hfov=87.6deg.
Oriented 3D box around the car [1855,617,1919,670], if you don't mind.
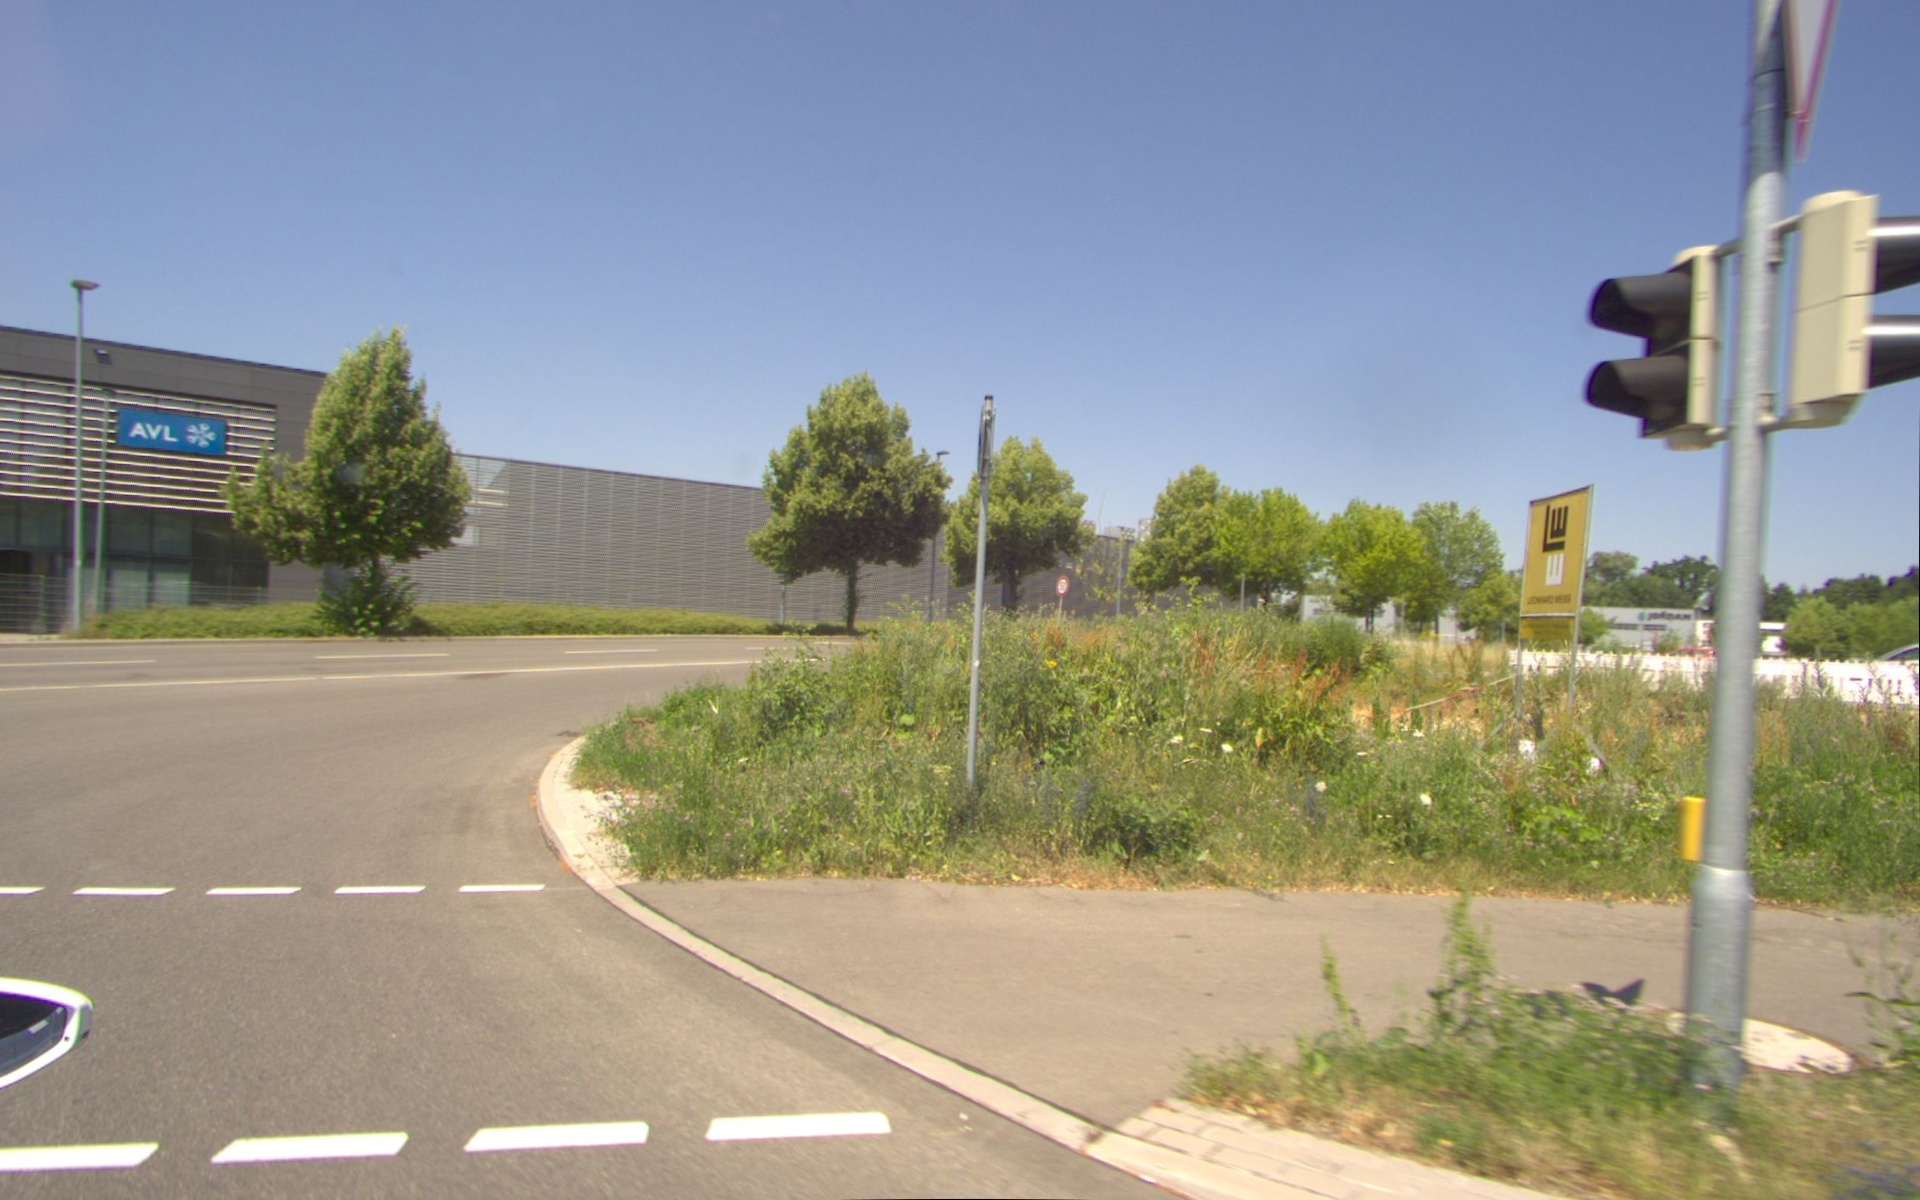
[{"bbox_3d":[36.151,1.640,37.091,4.428,1.939,1.923,0,-1,43],"label":"car"}]
